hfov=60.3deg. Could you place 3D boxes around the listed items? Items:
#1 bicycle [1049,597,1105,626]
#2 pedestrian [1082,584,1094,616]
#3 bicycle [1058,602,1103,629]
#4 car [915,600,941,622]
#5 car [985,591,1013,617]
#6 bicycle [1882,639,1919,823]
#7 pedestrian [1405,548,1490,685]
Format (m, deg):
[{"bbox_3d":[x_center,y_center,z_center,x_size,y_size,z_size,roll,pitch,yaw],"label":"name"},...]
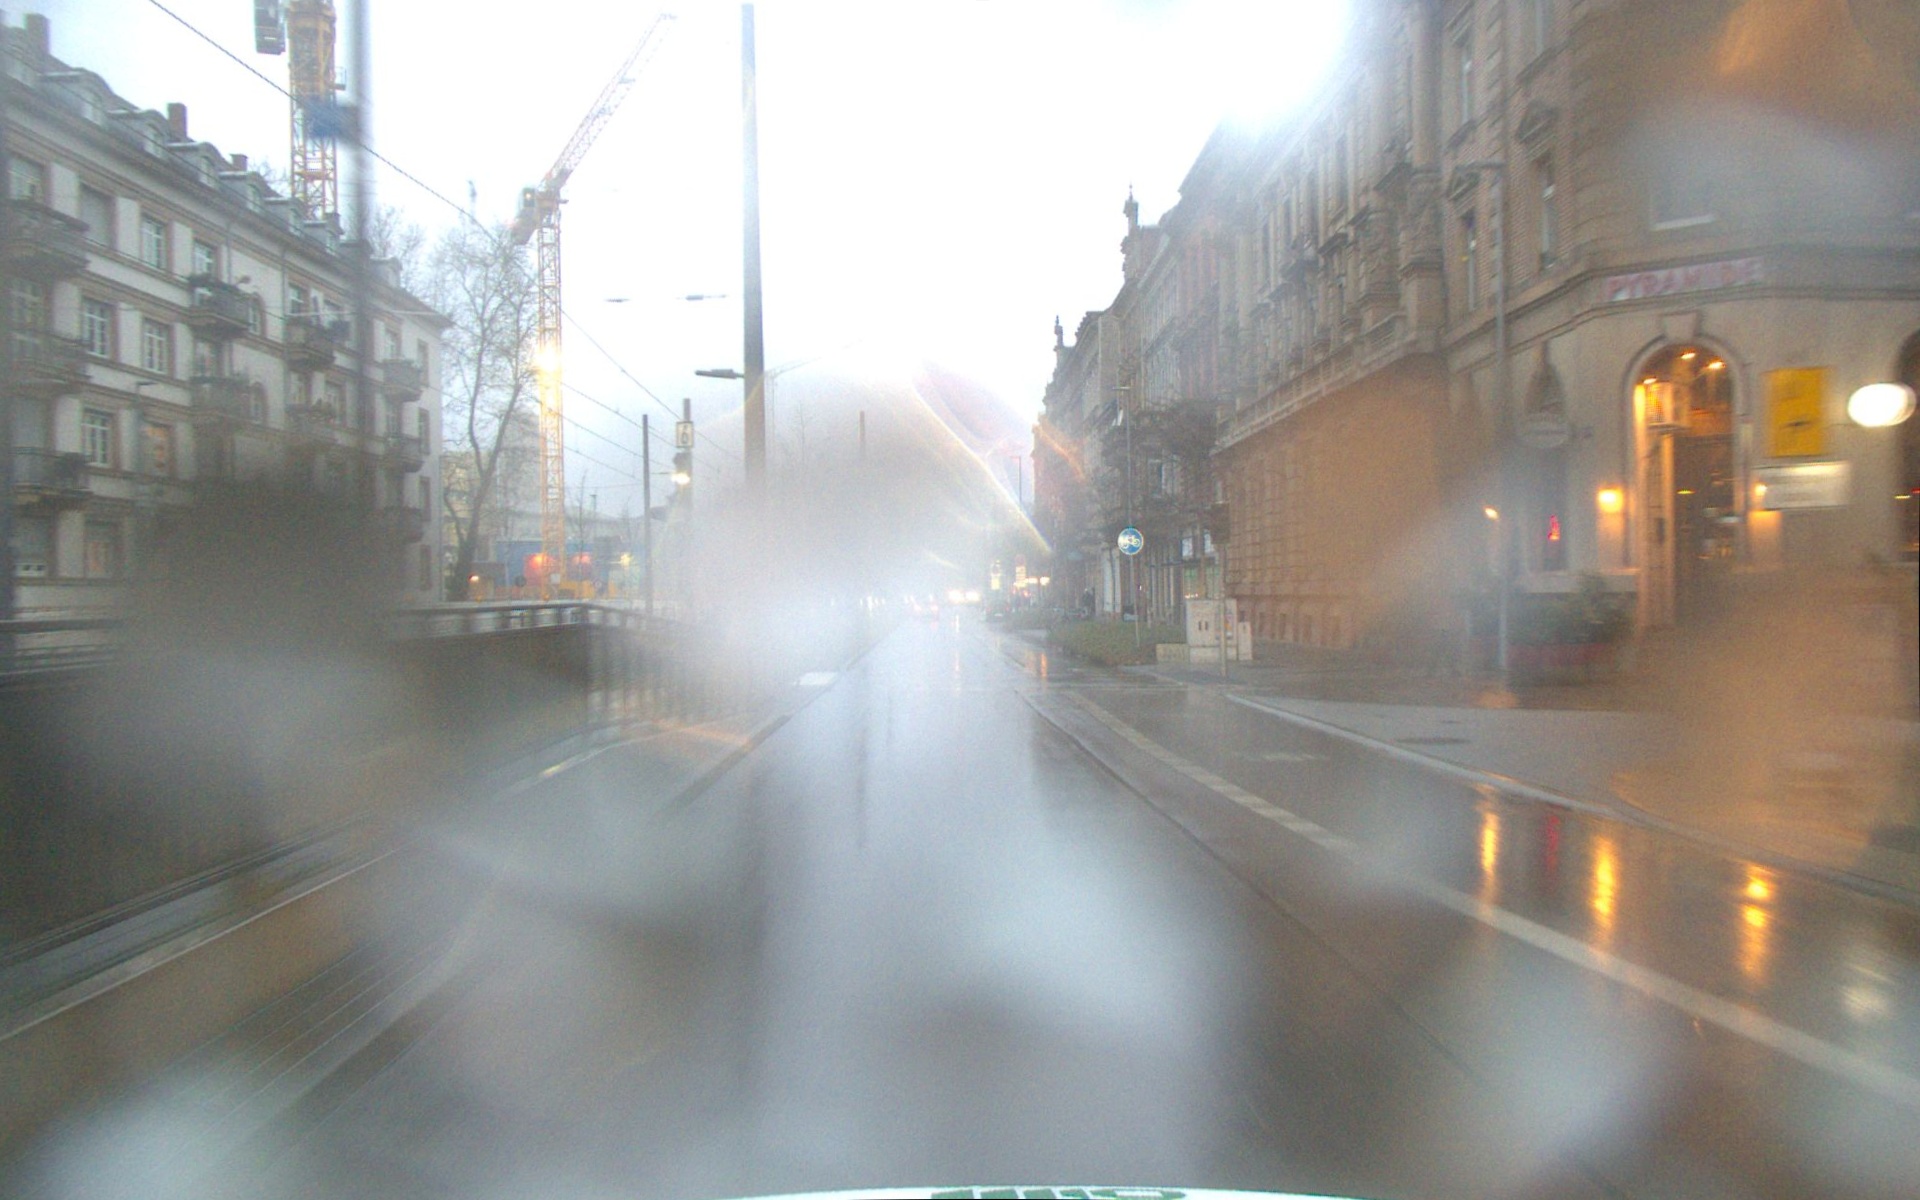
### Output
[{"bbox_3d":[4.552,0.457,64.236,2.106,1.076,0.525,-1,0,-7],"label":"bicycle"},{"bbox_3d":[7.436,-0.010,95.977,0.590,1.817,0.528,-1,0,-1],"label":"pedestrian"},{"bbox_3d":[4.955,0.633,68.106,1.814,1.077,0.471,-1,0,-4],"label":"bicycle"},{"bbox_3d":[-2.256,0.798,117.070,1.747,1.492,3.149,-1,0,1],"label":"car"},{"bbox_3d":[2.608,0.254,110.716,1.762,1.632,3.770,-1,0,1],"label":"car"},{"bbox_3d":[6.623,0.749,10.293,2.063,1.070,0.474,-2,0,-28],"label":"bicycle"},{"bbox_3d":[7.476,0.240,25.381,0.844,2.049,0.909,-1,0,-31],"label":"pedestrian"}]
